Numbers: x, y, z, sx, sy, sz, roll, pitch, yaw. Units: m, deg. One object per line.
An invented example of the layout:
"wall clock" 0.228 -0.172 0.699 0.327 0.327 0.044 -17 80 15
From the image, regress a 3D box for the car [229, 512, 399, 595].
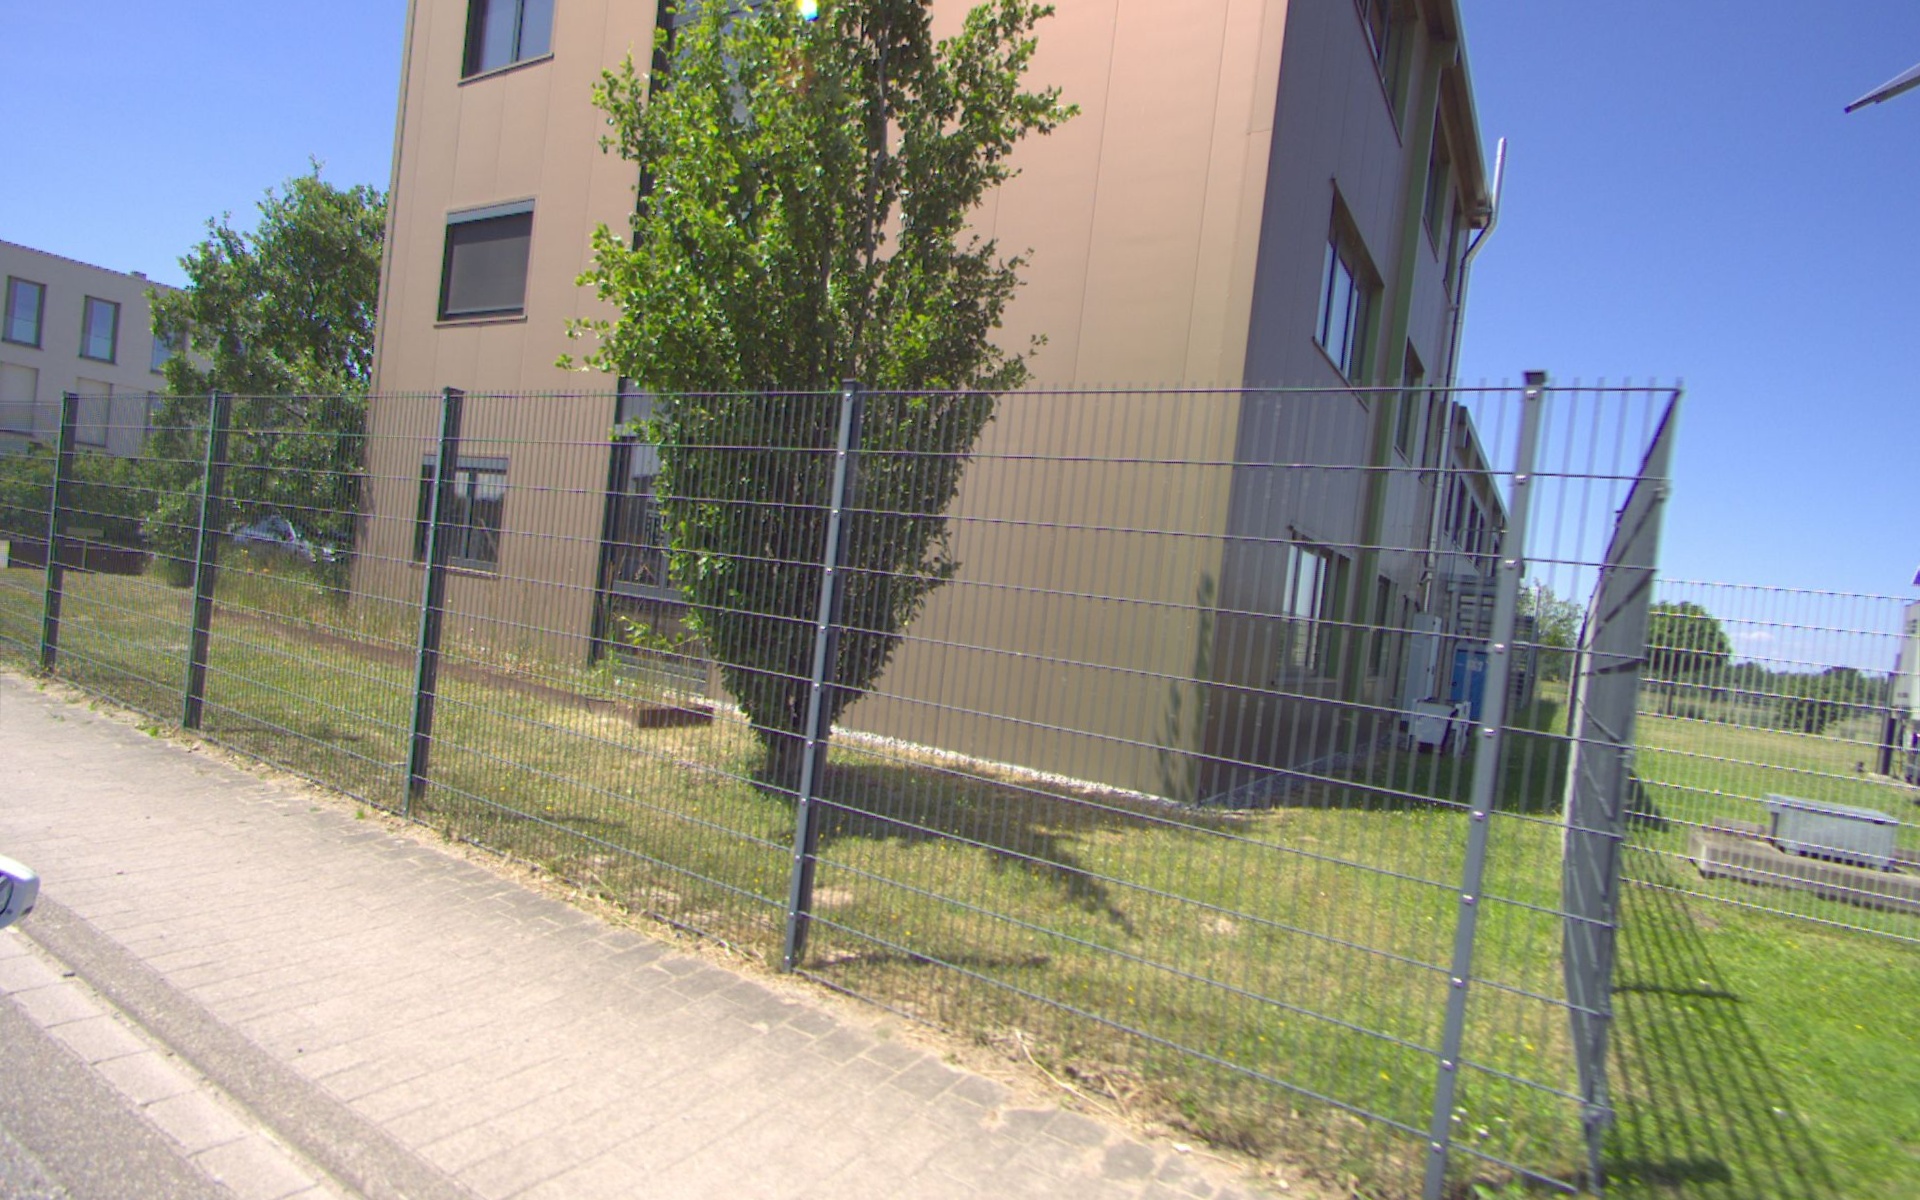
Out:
"car" -14.739 -1.066 22.895 3.934 1.462 1.656 7 1 32

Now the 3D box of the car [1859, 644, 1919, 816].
"car" 14.152 1.895 11.314 5.561 2.021 1.995 8 1 32
